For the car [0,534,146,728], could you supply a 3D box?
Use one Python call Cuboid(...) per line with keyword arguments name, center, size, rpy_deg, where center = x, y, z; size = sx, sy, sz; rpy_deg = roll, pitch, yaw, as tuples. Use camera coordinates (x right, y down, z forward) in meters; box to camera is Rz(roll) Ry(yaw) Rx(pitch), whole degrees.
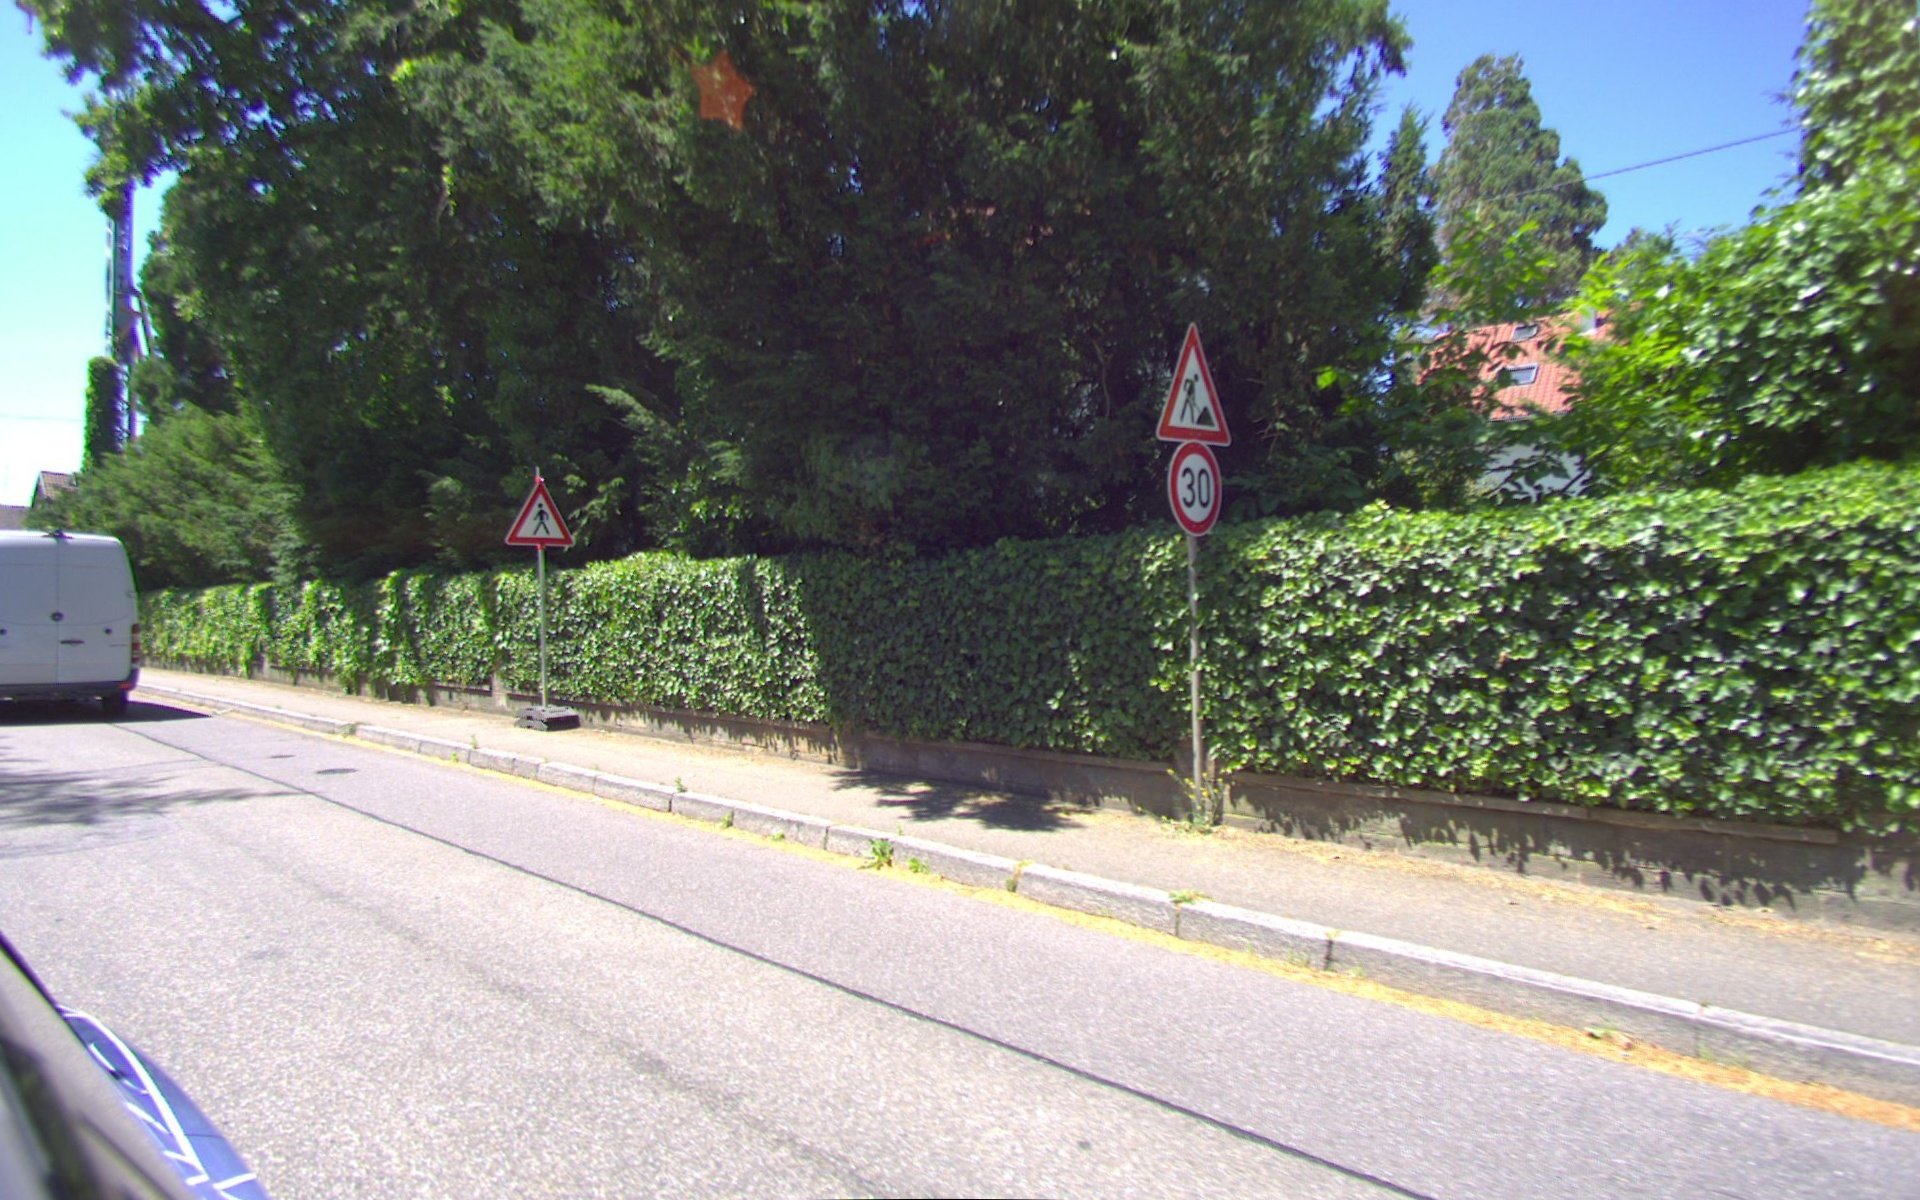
Cuboid(name="car", center=(-14.517, 0.468, 15.610), size=(5.890, 2.552, 1.973), rpy_deg=(-1, -2, 41))
